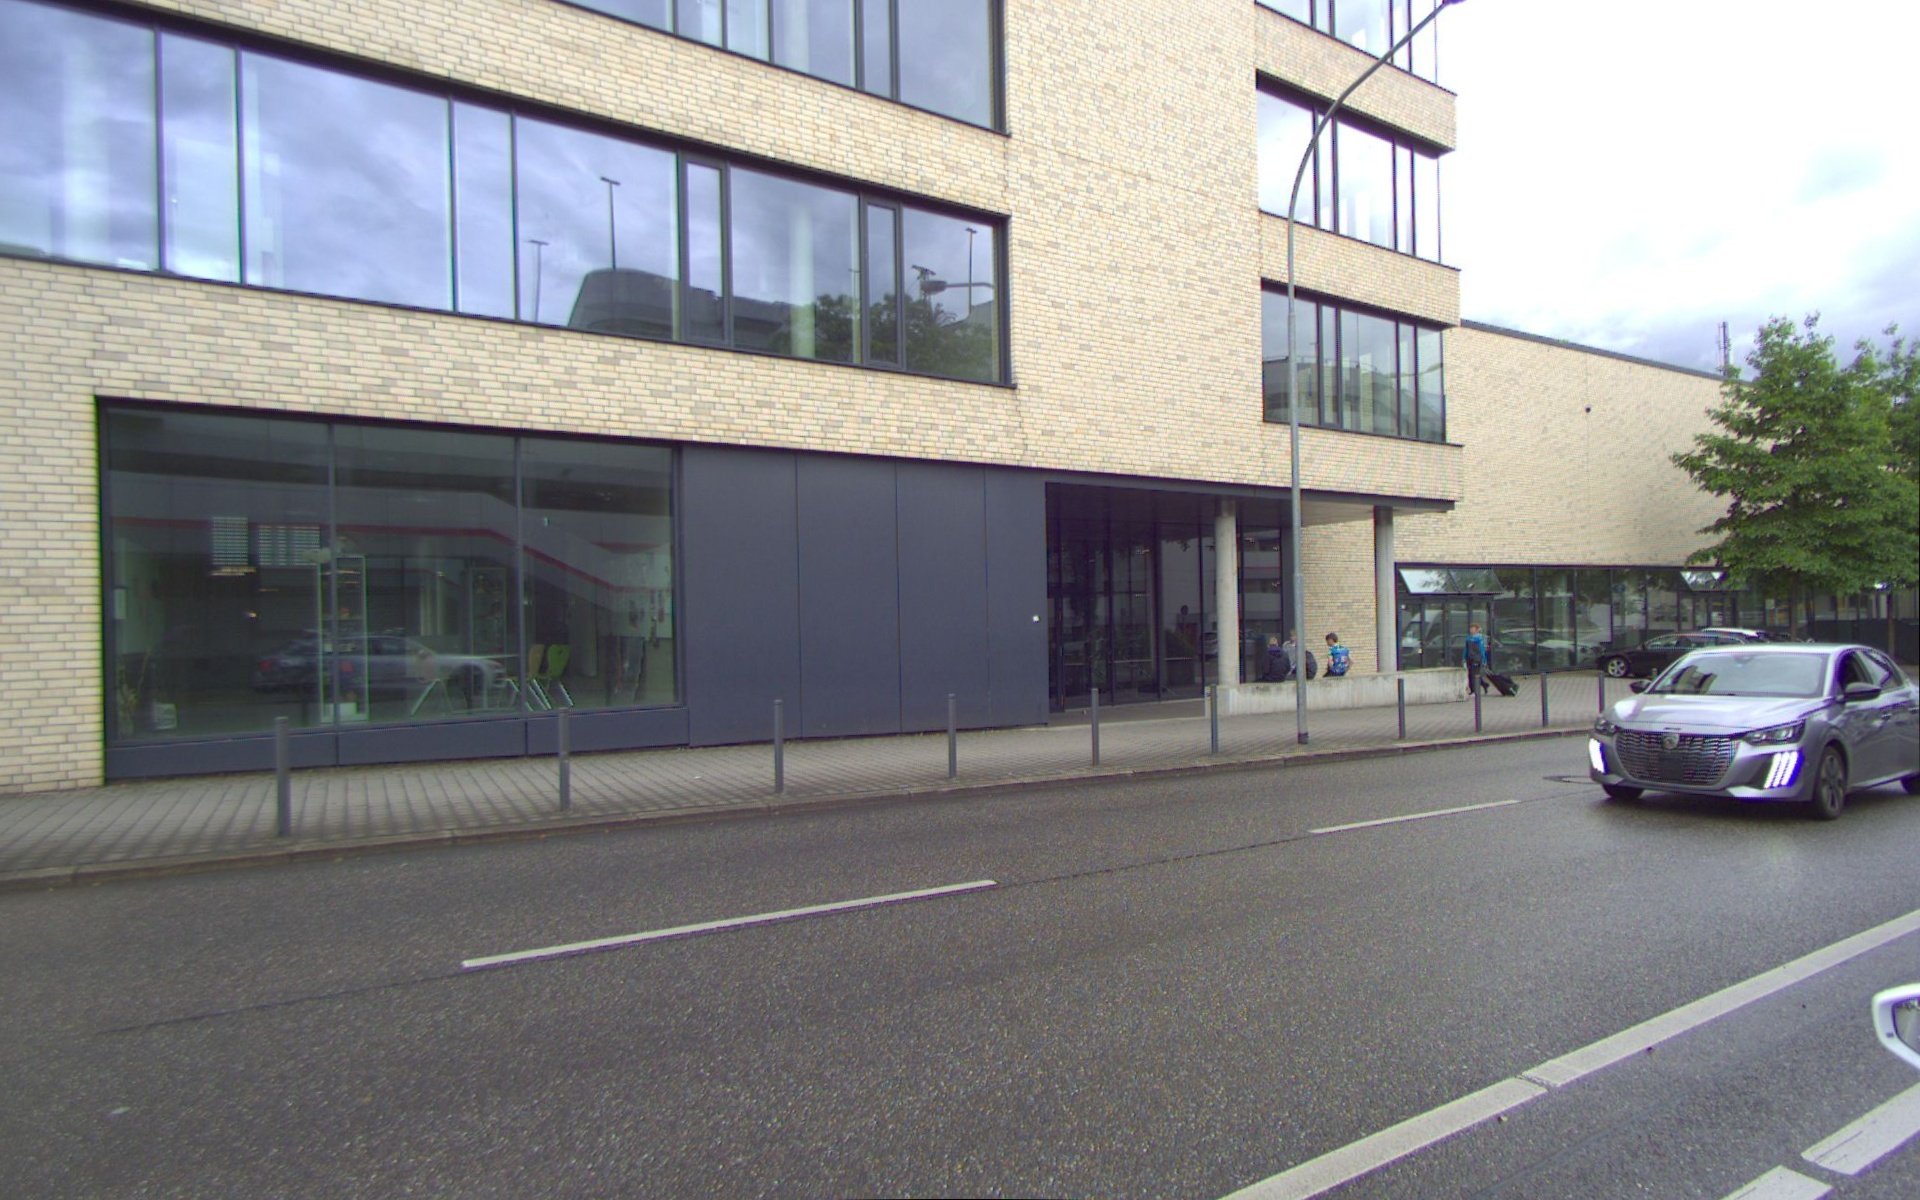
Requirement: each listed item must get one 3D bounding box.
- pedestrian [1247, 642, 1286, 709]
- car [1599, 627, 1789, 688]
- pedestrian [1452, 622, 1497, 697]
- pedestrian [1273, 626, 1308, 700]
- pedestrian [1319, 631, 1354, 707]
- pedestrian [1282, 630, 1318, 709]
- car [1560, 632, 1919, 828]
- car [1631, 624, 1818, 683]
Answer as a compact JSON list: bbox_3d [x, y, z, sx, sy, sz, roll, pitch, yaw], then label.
[{"bbox_3d":[5.812,1.425,19.047,0.416,1.231,0.546,2,0,-27],"label":"pedestrian"},{"bbox_3d":[21.605,1.637,29.706,1.981,1.515,4.147,2,0,-36],"label":"car"},{"bbox_3d":[12.306,1.407,24.044,0.696,1.737,0.632,2,0,-27],"label":"pedestrian"},{"bbox_3d":[6.897,1.309,20.983,0.523,1.495,0.438,2,0,-35],"label":"pedestrian"},{"bbox_3d":[7.597,1.382,20.284,0.459,1.495,0.446,2,0,-35],"label":"pedestrian"},{"bbox_3d":[6.597,1.340,19.510,0.459,1.495,0.446,2,0,-35],"label":"pedestrian"},{"bbox_3d":[7.541,1.071,9.422,3.840,1.489,1.732,1,-3,-32],"label":"car"},{"bbox_3d":[23.483,1.610,31.015,1.975,1.568,4.159,2,0,-28],"label":"car"}]
